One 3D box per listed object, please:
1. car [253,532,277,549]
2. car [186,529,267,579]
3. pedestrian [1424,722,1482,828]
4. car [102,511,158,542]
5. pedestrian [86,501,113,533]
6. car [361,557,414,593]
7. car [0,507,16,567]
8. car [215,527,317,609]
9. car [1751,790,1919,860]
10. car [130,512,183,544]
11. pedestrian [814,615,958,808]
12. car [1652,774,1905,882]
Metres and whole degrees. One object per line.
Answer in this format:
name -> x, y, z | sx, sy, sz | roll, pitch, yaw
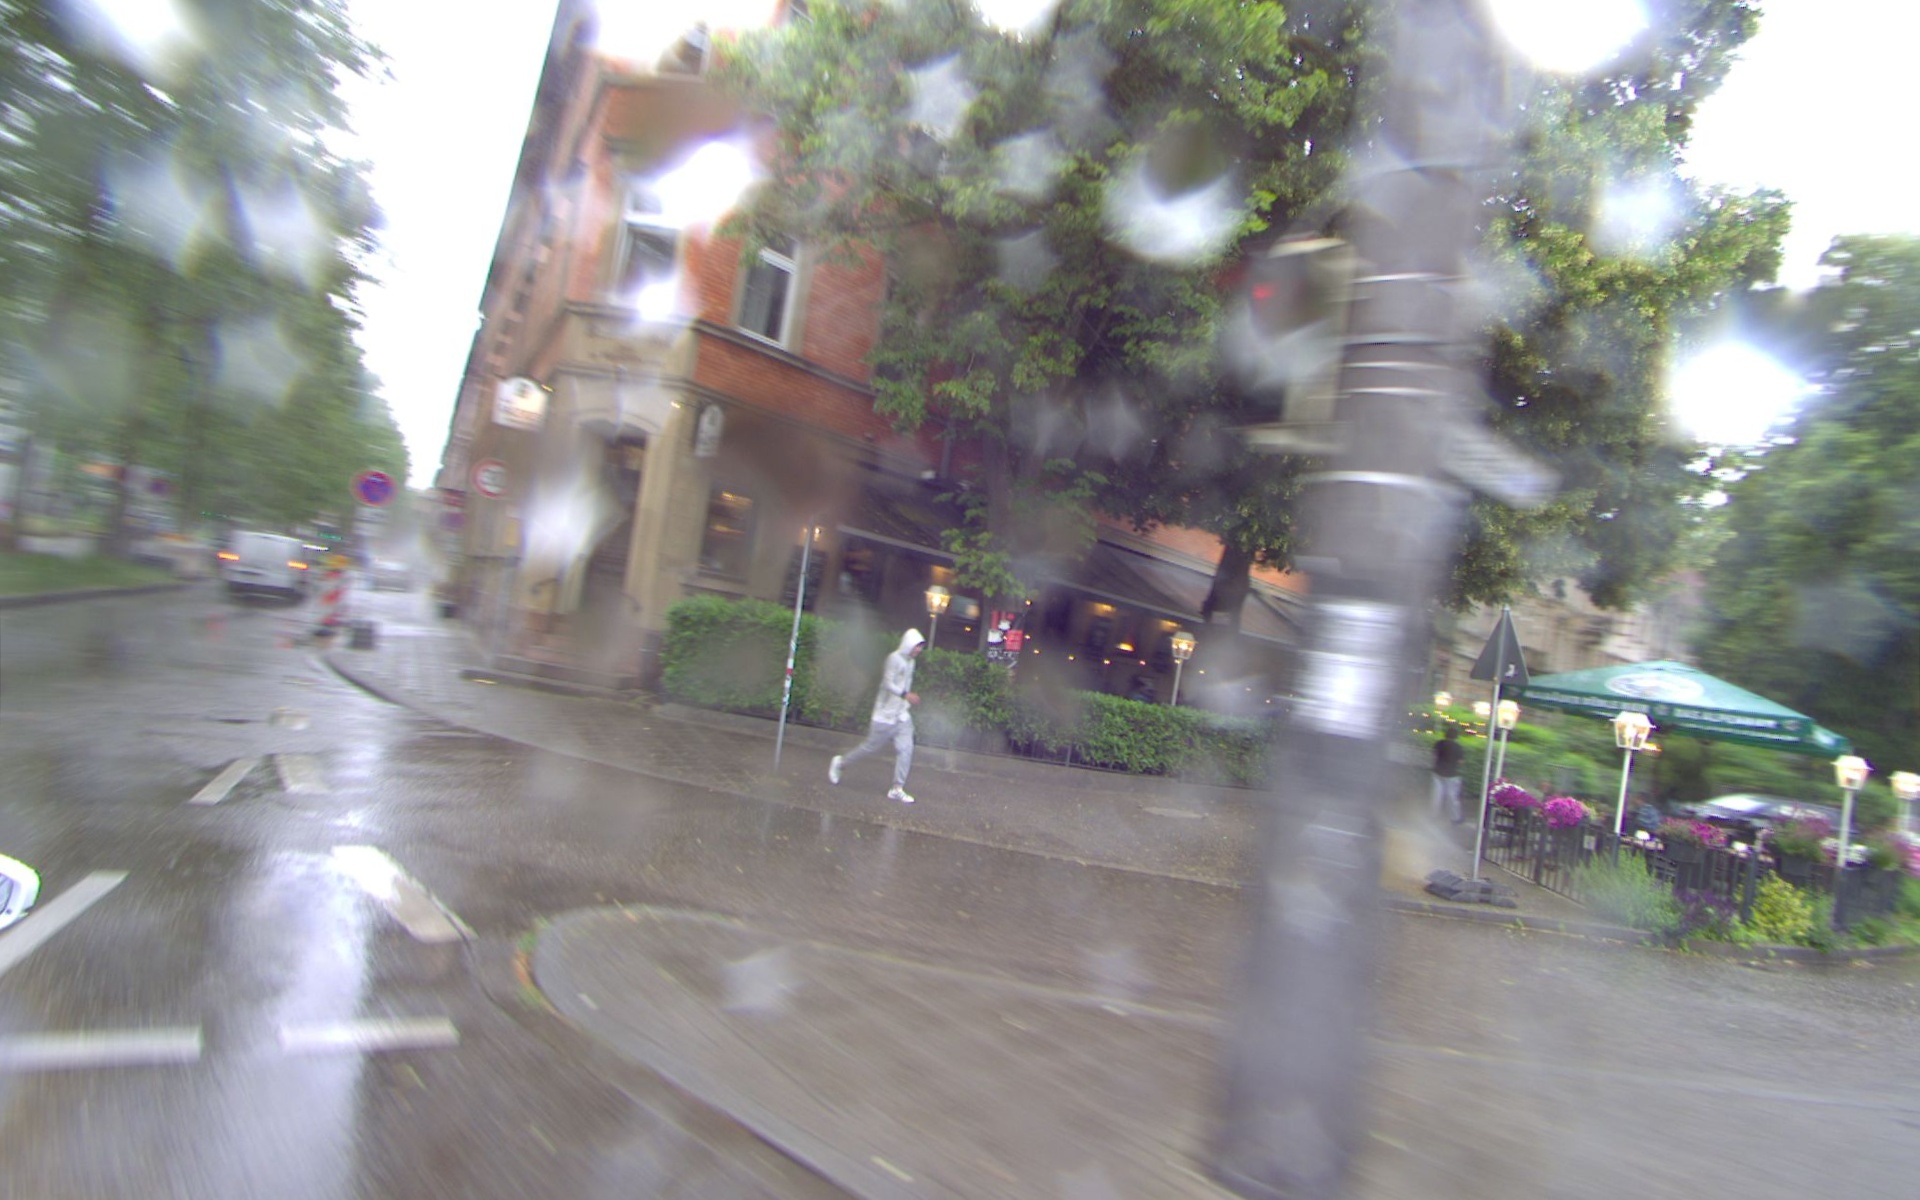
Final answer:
car -> -83.650, -7.139, 121.083 | 1.987, 1.598, 3.958 | 11, -3, -38
car -> -28.449, -1.762, 39.138 | 1.817, 1.519, 4.579 | 12, -4, -30
pedestrian -> 8.263, 2.936, 16.874 | 0.386, 1.663, 0.544 | 10, -1, -42
car -> -49.549, -4.345, 60.128 | 1.729, 1.356, 3.727 | 14, -4, -30
pedestrian -> -50.976, -4.927, 59.604 | 0.812, 1.722, 0.865 | 10, -2, -30
car -> -27.191, -1.169, 47.927 | 1.797, 1.438, 4.668 | 6, -1, -26
car -> -22.727, -1.569, 22.092 | 1.729, 1.413, 4.202 | 11, -3, -29
car -> -19.069, -0.860, 27.820 | 1.893, 1.816, 4.081 | 10, -4, -32
car -> 30.588, 7.814, 35.150 | 4.205, 1.485, 1.713 | 8, -3, 15
car -> -53.482, -4.765, 67.054 | 1.981, 1.630, 3.970 | 11, -3, -30
pedestrian -> -0.794, 1.155, 10.697 | 1.185, 1.796, 0.565 | 10, 2, 32
car -> 18.361, 5.083, 22.766 | 3.924, 1.524, 1.865 | 8, -3, 10
